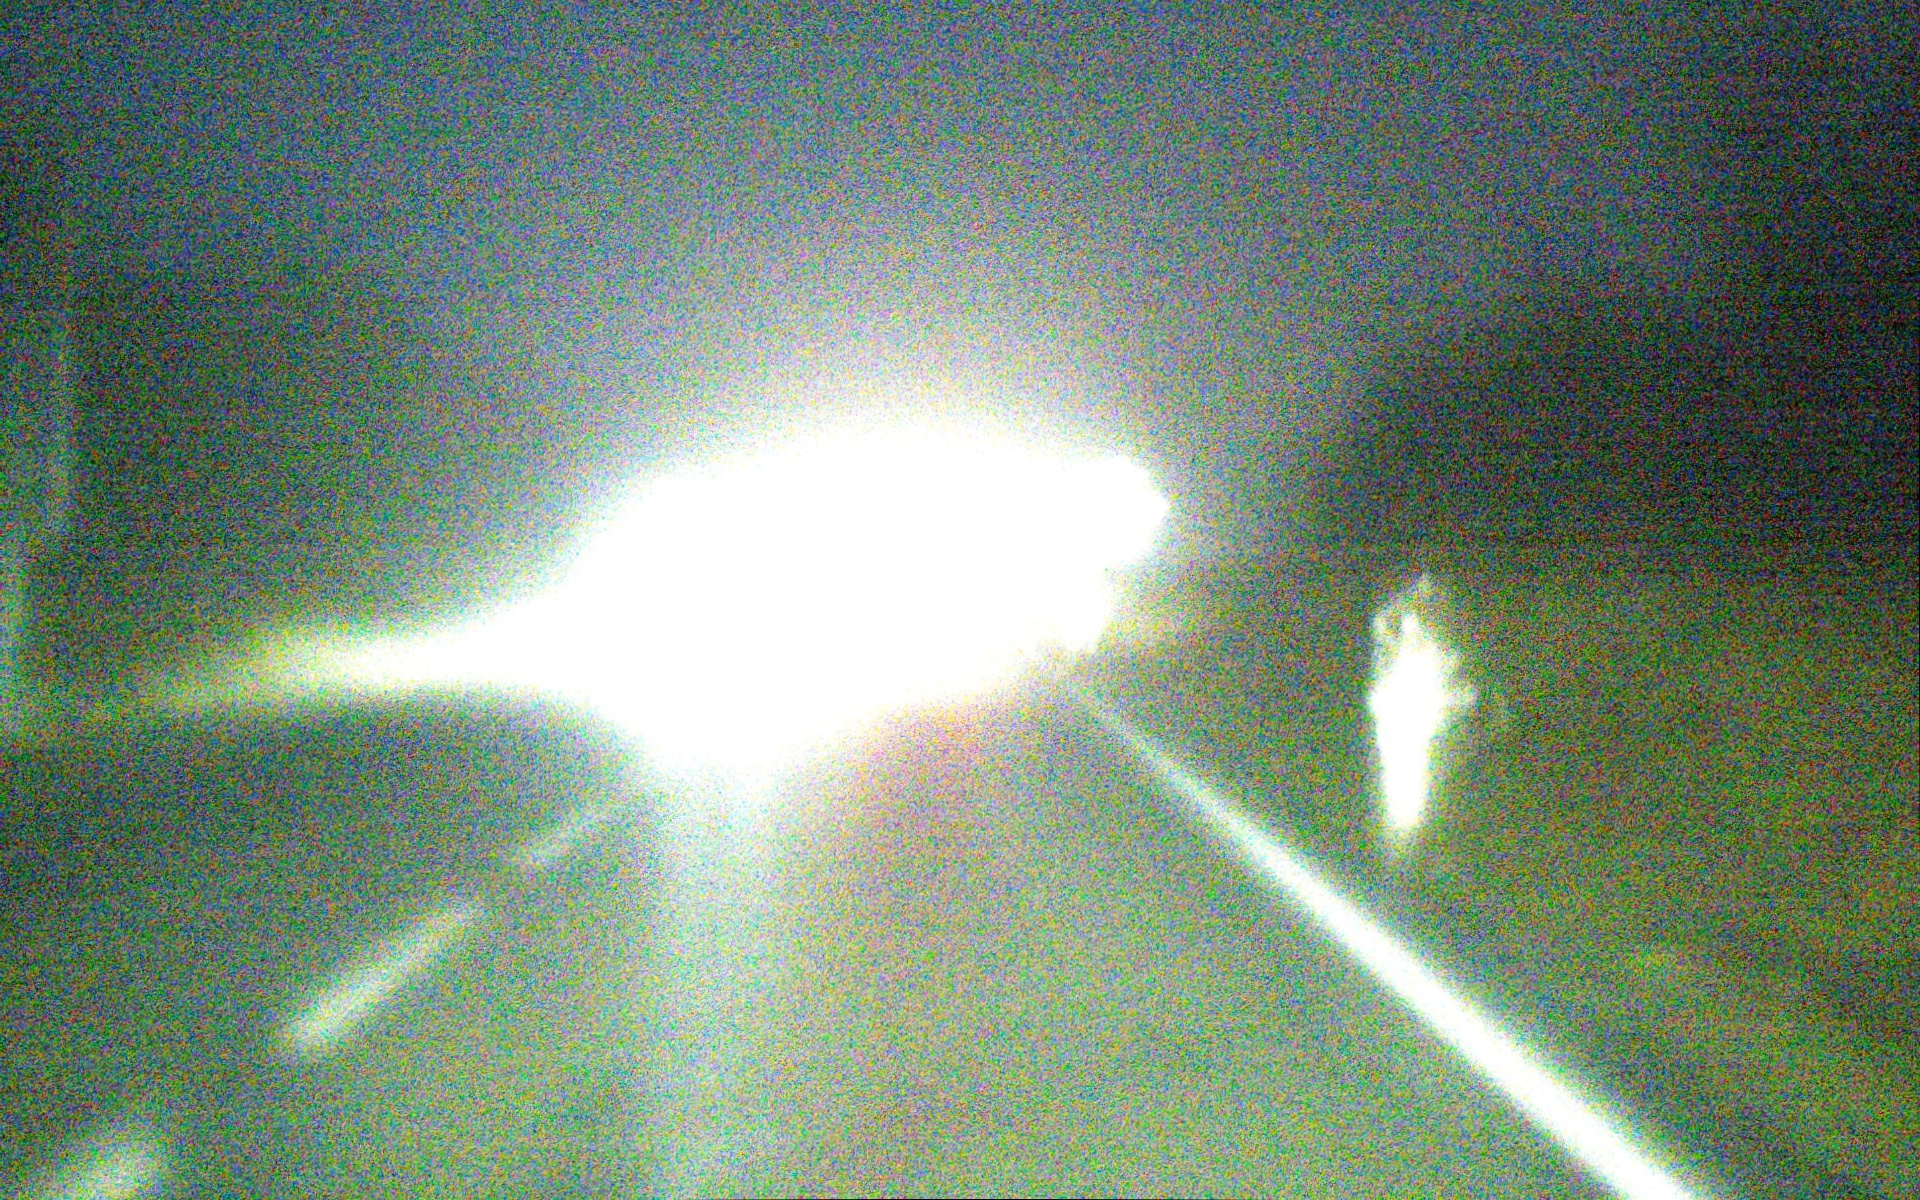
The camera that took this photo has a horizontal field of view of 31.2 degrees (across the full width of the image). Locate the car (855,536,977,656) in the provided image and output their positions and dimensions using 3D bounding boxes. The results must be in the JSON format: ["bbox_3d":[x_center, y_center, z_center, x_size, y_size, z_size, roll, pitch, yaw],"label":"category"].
[{"bbox_3d":[-0.747,-0.098,55.783,1.842,1.734,4.001,2,2,-2],"label":"car"}]

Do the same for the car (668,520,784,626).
[{"bbox_3d":[-4.618,-0.542,68.333,1.993,2.007,4.000,1,0,0],"label":"car"}]
